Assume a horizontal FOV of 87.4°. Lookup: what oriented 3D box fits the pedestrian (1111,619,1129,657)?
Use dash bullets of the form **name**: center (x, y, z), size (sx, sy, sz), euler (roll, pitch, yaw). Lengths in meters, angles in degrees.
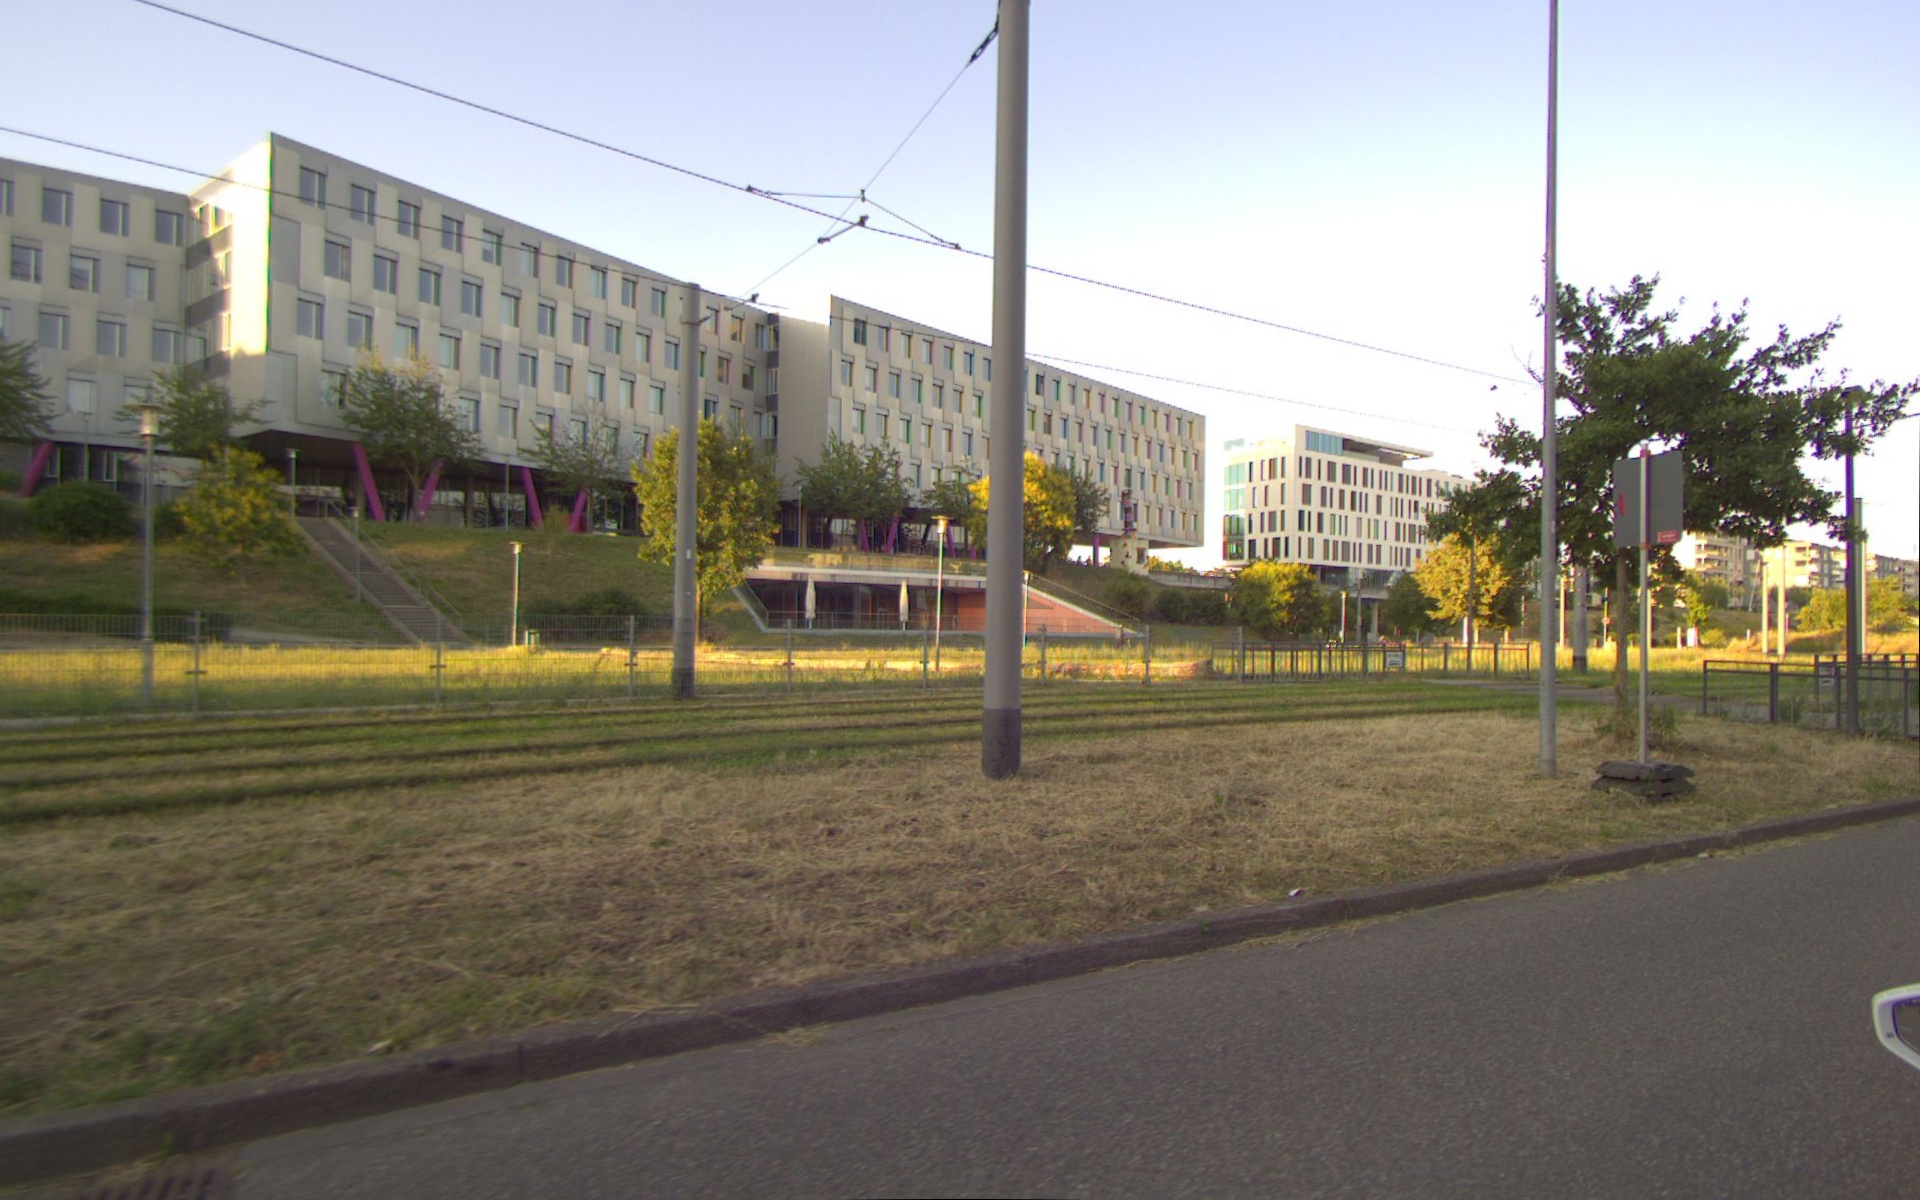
- **pedestrian**: center (9.123, 2.164, 57.322), size (0.781, 2.110, 0.613), euler (2, 1, -30)
